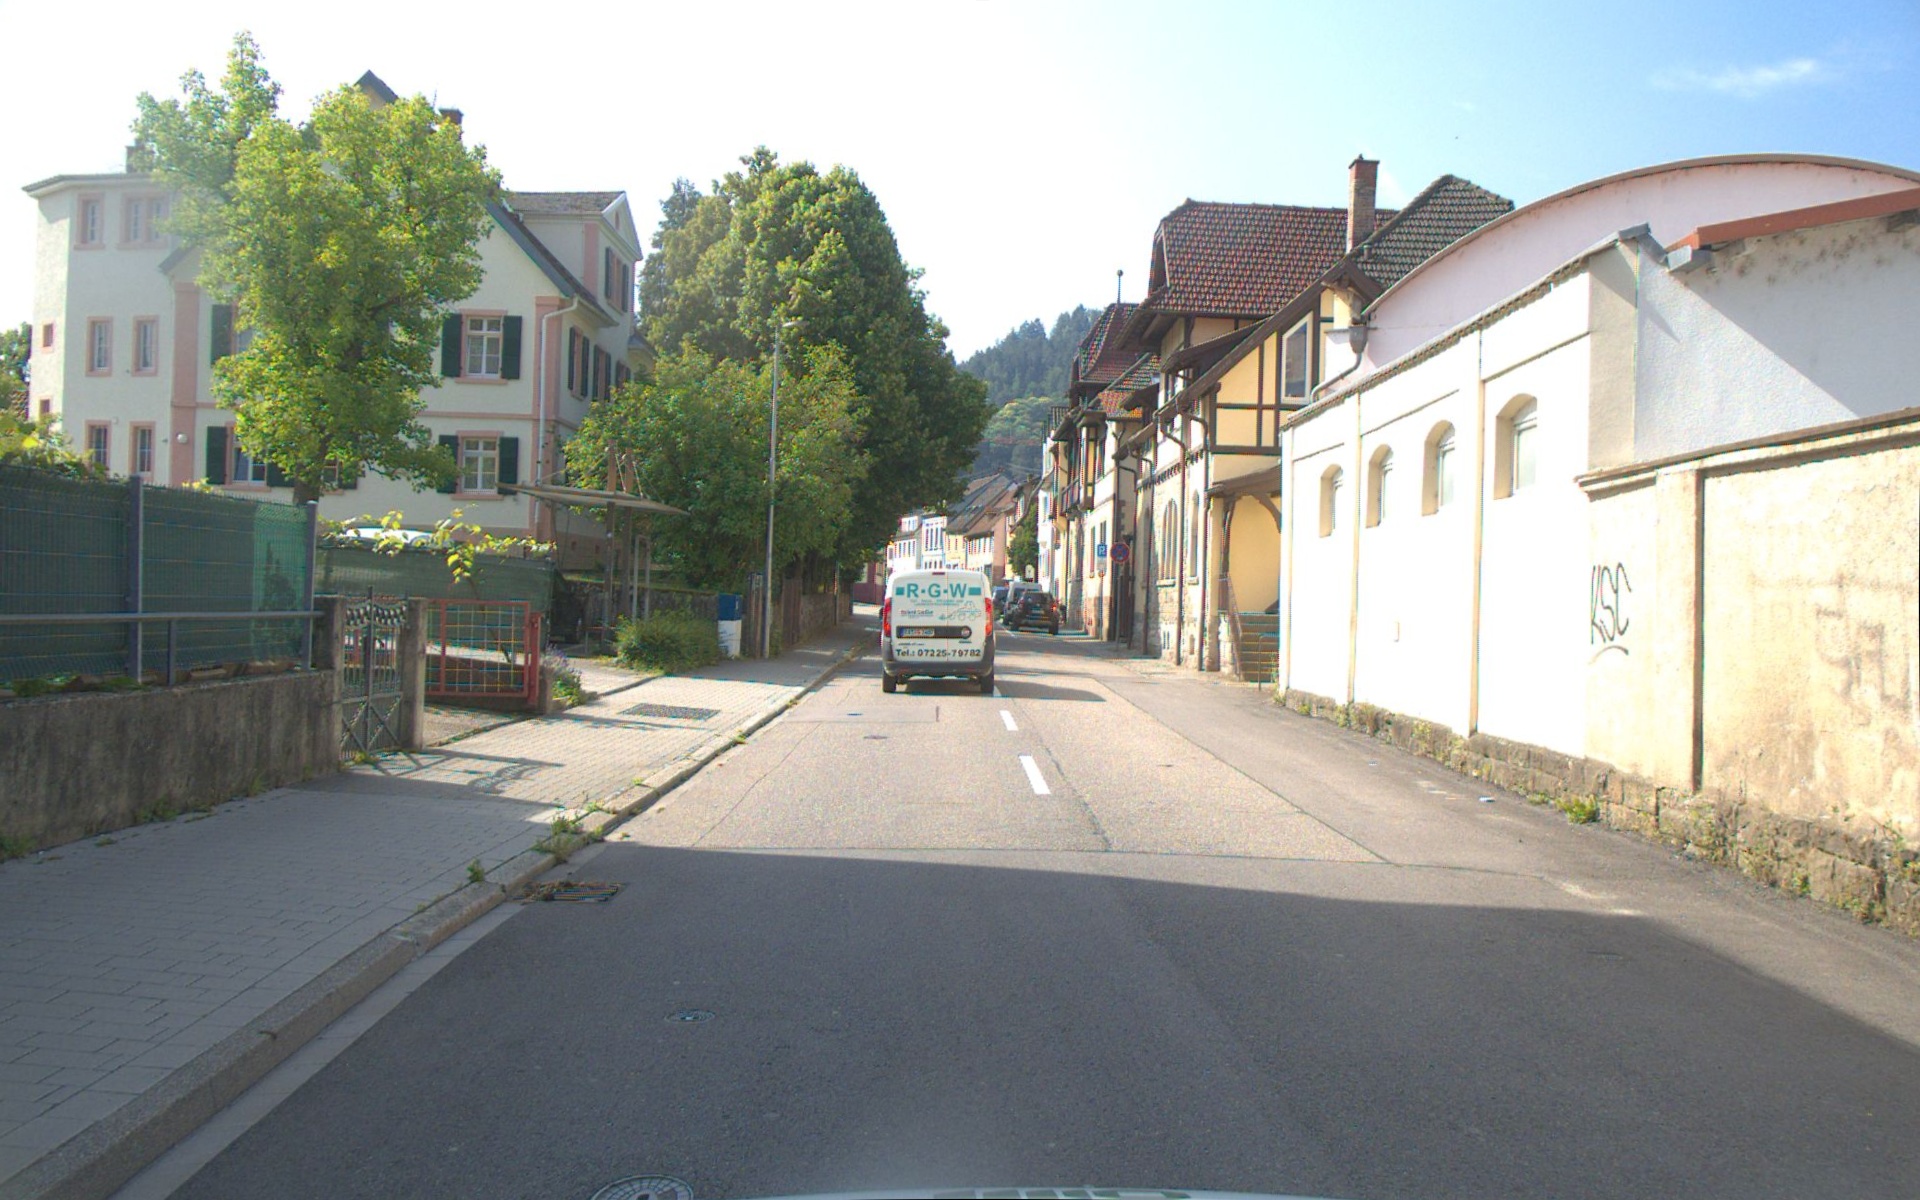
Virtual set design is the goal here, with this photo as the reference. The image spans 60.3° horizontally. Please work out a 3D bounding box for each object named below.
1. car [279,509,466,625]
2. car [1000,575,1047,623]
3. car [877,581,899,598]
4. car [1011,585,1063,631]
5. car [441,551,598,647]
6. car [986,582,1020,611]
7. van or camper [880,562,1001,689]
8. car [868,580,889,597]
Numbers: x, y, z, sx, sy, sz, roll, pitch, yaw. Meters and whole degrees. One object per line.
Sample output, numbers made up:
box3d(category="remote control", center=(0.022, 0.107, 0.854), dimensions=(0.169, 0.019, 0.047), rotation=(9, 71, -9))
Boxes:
box3d(category="car", center=(-10.684, -0.575, 30.475), dimensions=(1.787, 1.803, 4.680), rotation=(5, 0, -2))
box3d(category="car", center=(2.878, -0.047, 75.749), dimensions=(1.833, 2.048, 3.999), rotation=(3, 0, -1))
box3d(category="car", center=(-8.052, -1.145, 184.552), dimensions=(1.740, 1.830, 3.988), rotation=(2, 0, -12))
box3d(category="car", center=(3.004, 0.282, 65.418), dimensions=(1.774, 1.624, 3.926), rotation=(4, 1, 0))
box3d(category="car", center=(-7.784, -0.053, 29.633), dimensions=(1.582, 1.487, 4.394), rotation=(4, 1, -1))
box3d(category="car", center=(2.380, -0.207, 92.080), dimensions=(1.636, 1.534, 3.998), rotation=(1, 0, -2))
box3d(category="van or camper", center=(-0.344, 0.368, 26.720), dimensions=(1.791, 1.877, 4.187), rotation=(1, 0, -2))
box3d(category="car", center=(-9.410, -1.358, 191.064), dimensions=(1.740, 1.830, 3.988), rotation=(2, 0, -12))
